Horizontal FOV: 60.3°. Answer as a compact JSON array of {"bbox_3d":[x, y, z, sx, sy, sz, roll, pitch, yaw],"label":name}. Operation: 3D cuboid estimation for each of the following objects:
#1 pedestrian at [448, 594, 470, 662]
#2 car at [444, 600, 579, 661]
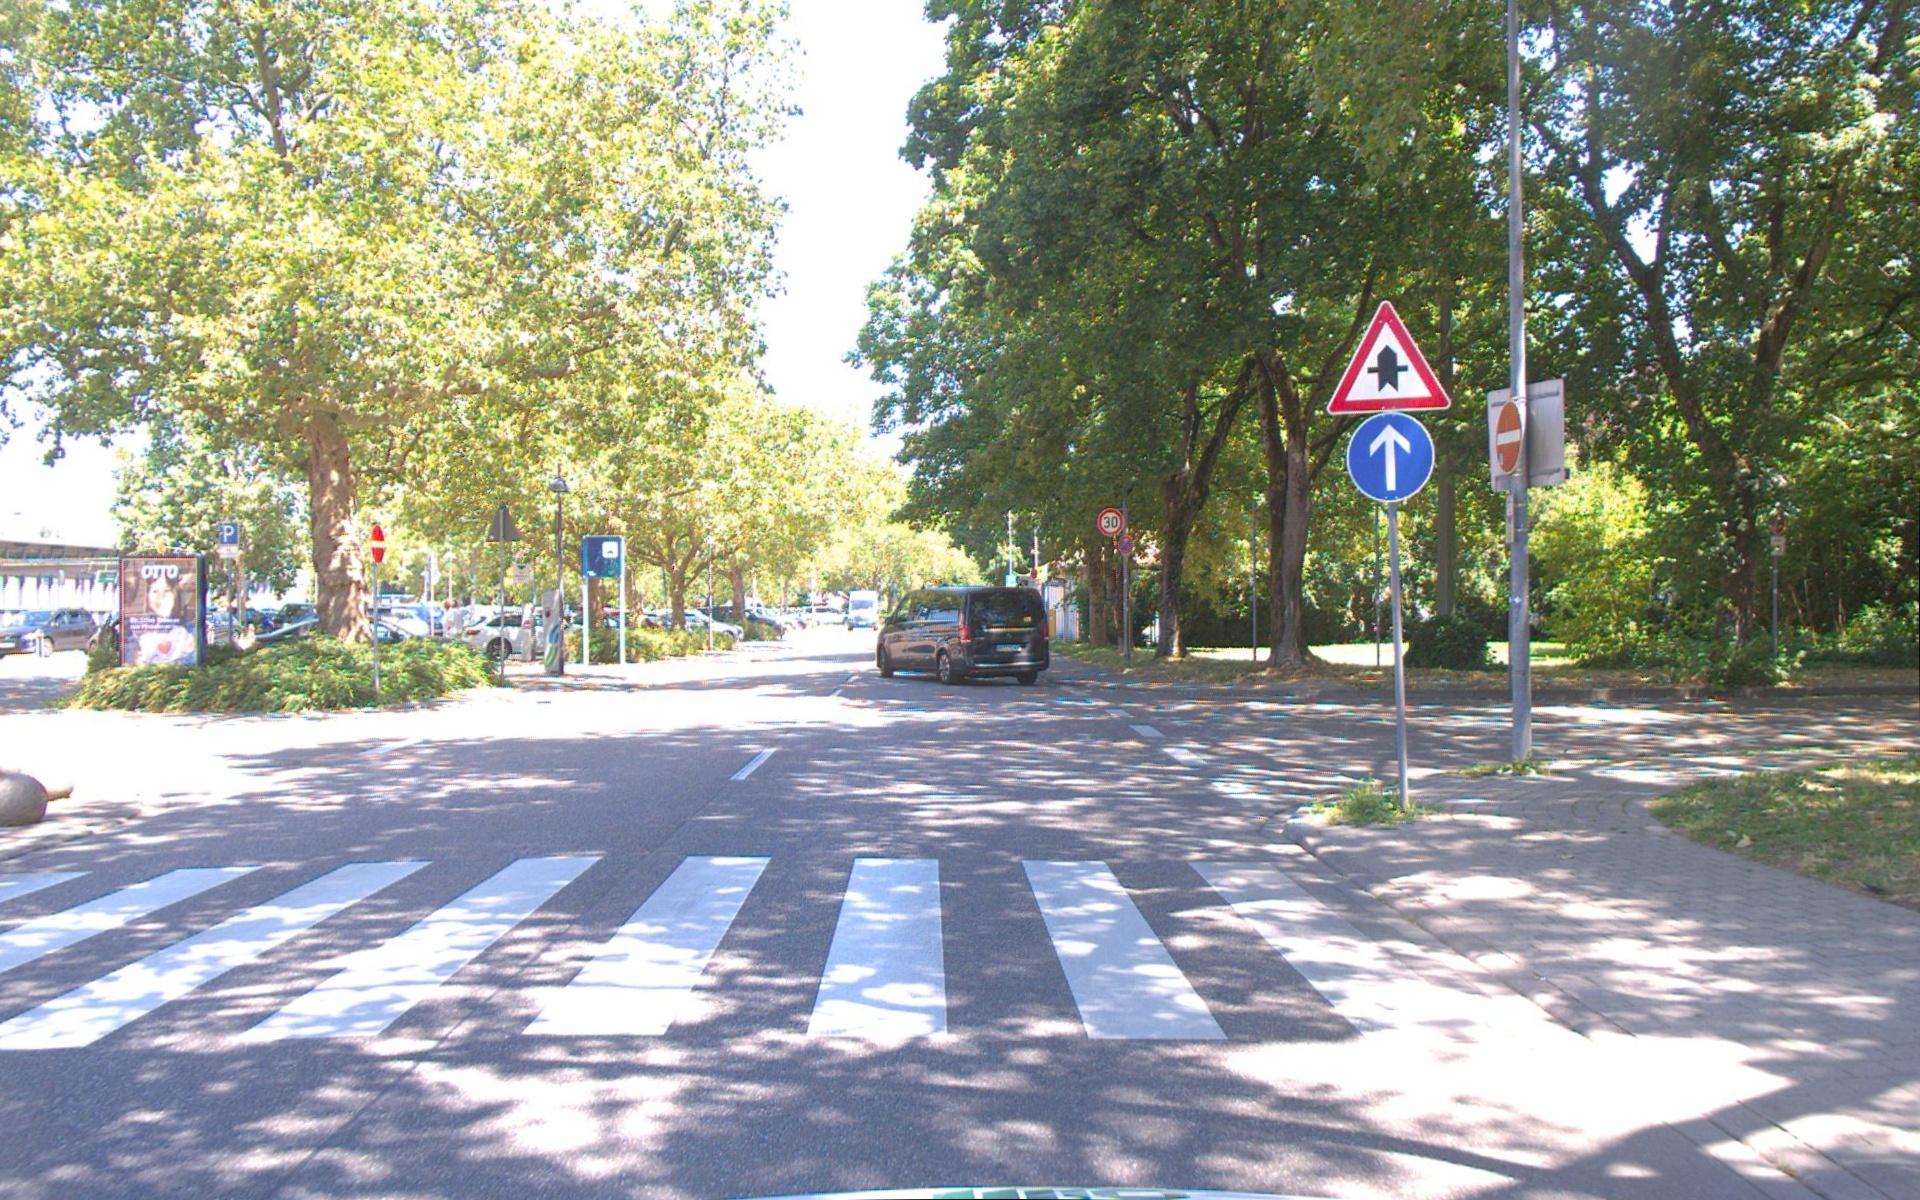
[{"bbox_3d":[-15.076,0.842,49.790,0.614,2.049,0.568,0,-2,-15],"label":"pedestrian"},{"bbox_3d":[-13.967,0.952,51.469,3.927,1.813,1.989,0,-1,-19],"label":"car"}]
